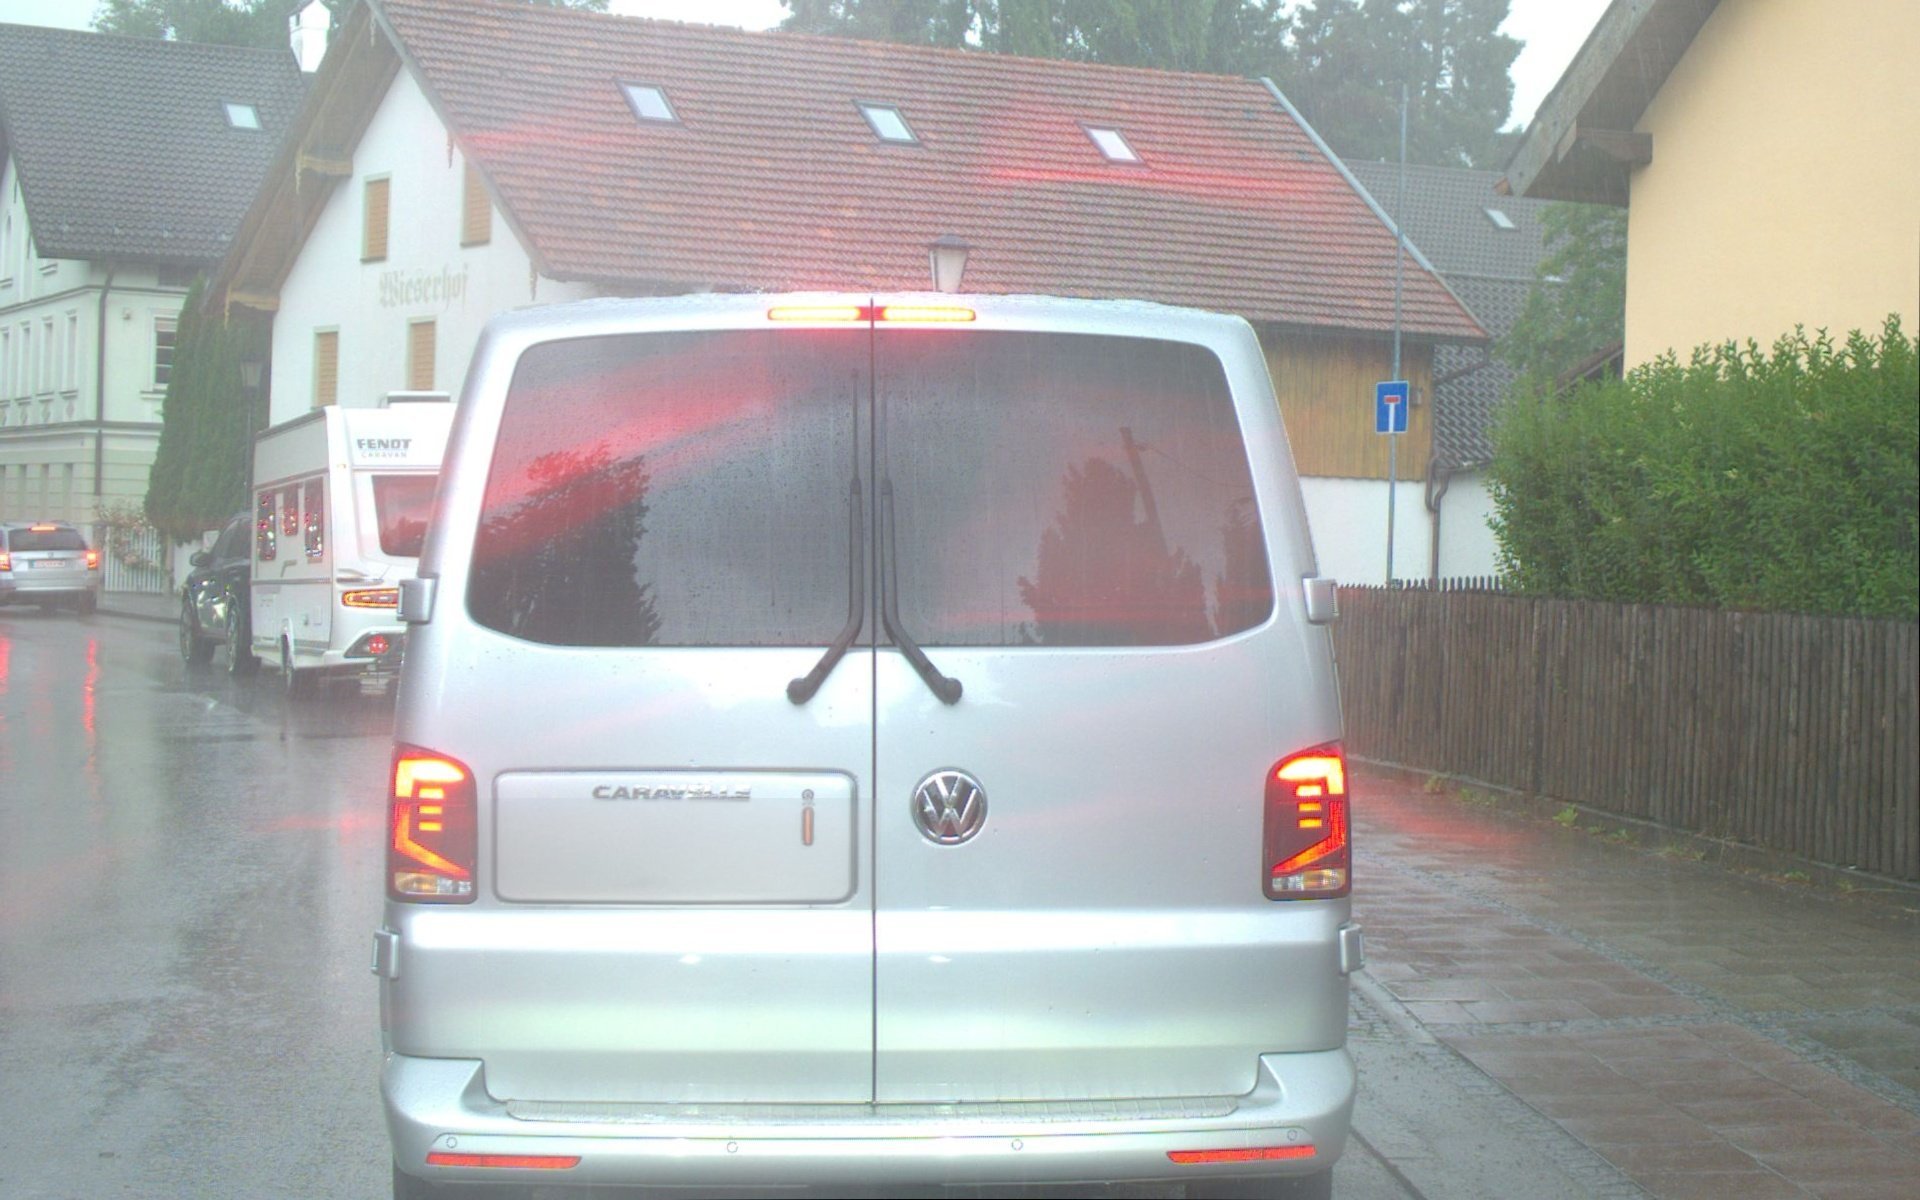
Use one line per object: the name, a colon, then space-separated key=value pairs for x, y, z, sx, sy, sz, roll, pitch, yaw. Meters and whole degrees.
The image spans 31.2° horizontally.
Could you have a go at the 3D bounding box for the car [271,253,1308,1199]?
car: x=-0.307 y=0.342 z=8.449 sx=1.776 sy=1.956 sz=5.074 roll=0 pitch=1 yaw=0

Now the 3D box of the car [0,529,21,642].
car: x=-18.137 y=-0.354 z=60.364 sx=2.168 sy=1.892 sz=5.015 roll=2 pitch=1 yaw=-27

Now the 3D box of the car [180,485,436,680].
car: x=-6.938 y=-0.214 z=36.135 sx=2.053 sy=1.892 sz=5.177 roll=0 pitch=1 yaw=-17

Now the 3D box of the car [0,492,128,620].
car: x=-14.942 y=-0.707 z=54.670 sx=2.168 sy=1.893 sz=5.015 roll=2 pitch=0 yaw=-27

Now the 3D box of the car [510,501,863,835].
car: x=-1.646 y=0.265 z=19.270 sx=1.708 sy=1.578 sz=4.687 roll=-1 pitch=2 yaw=-7

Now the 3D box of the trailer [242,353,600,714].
trailer: x=-4.963 y=-0.586 z=30.788 sx=2.270 sy=2.894 sz=6.134 roll=0 pitch=1 yaw=-17
